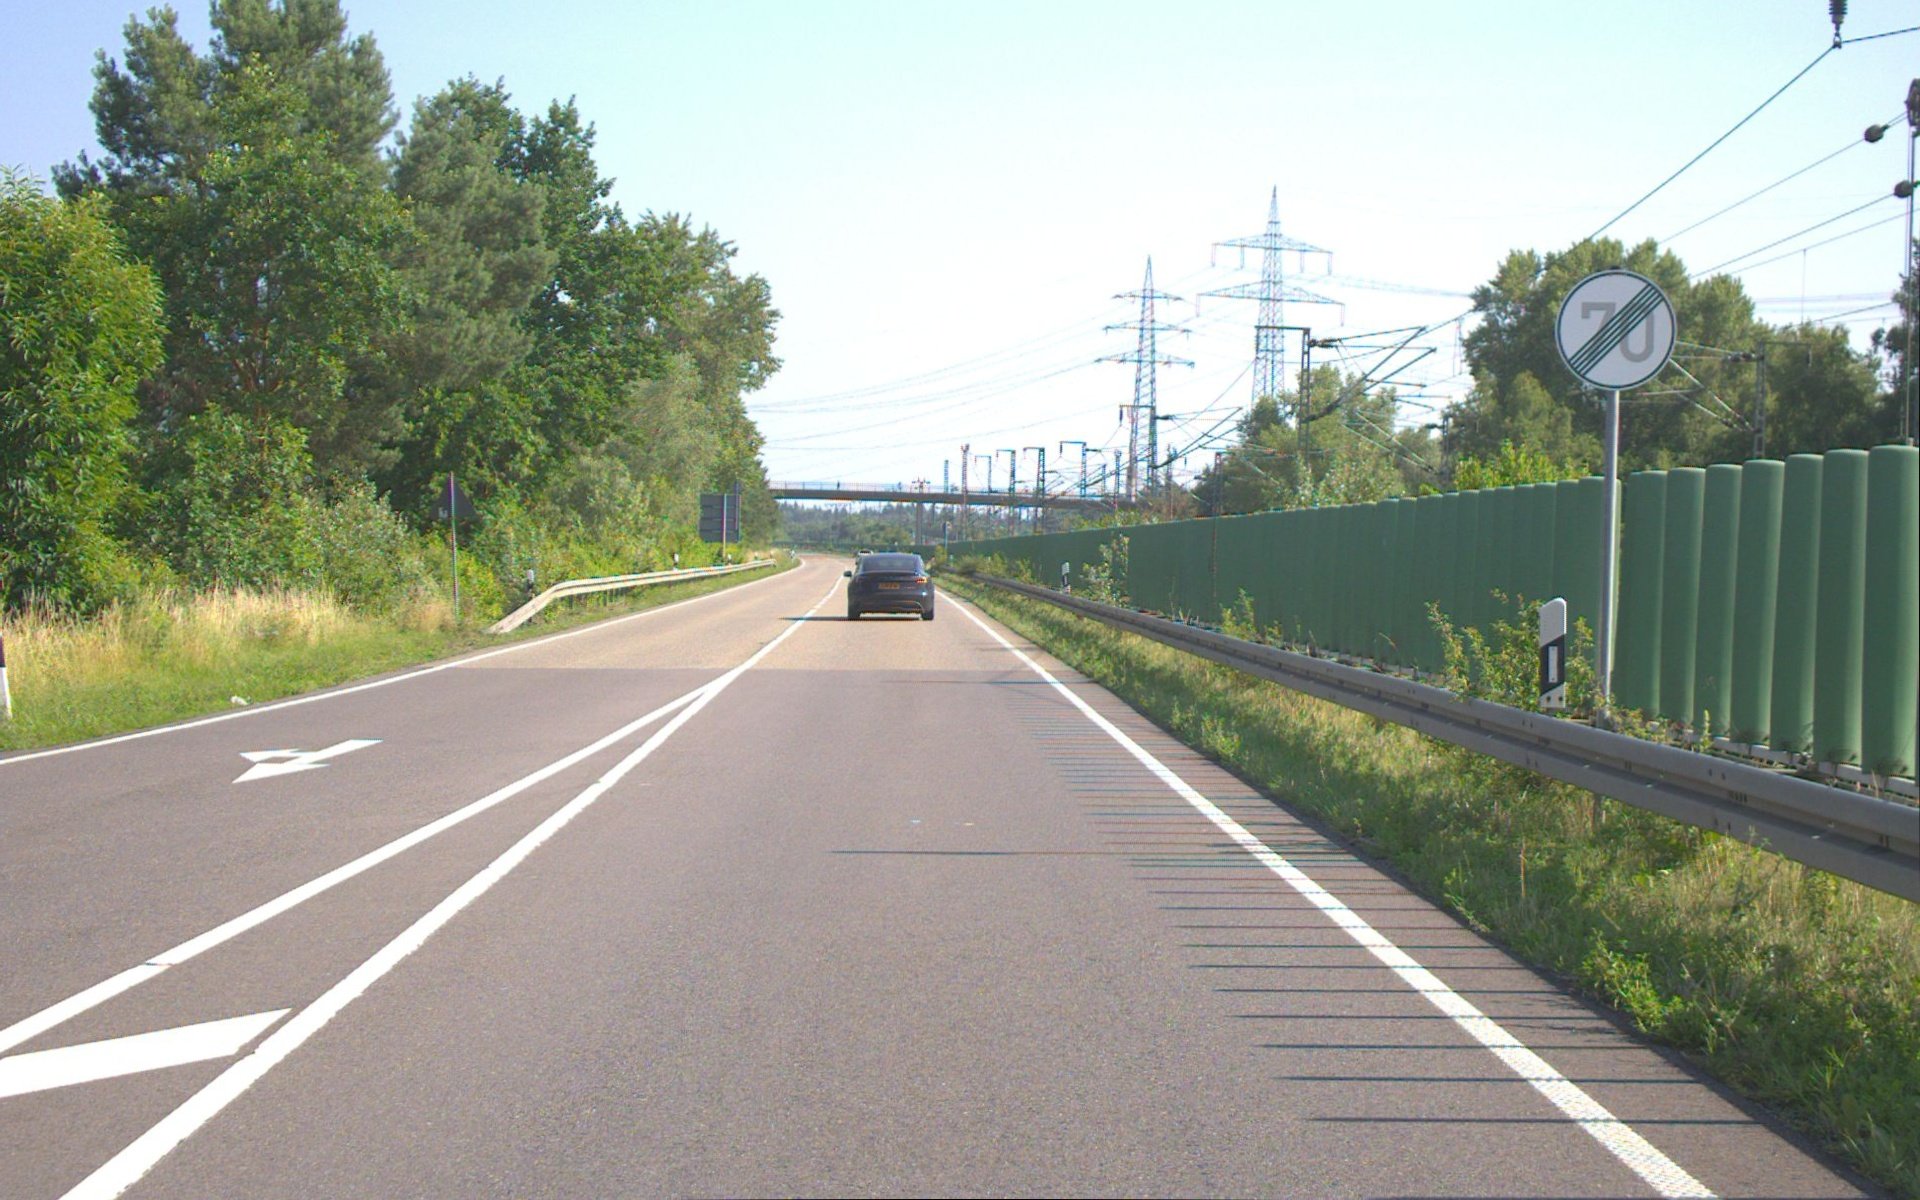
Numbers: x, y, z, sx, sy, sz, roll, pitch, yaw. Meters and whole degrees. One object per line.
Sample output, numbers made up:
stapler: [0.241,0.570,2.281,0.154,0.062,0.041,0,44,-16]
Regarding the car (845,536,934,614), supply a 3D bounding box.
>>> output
car: [-1.545,-0.555,74.120,1.858,1.636,4.001,0,1,-2]
